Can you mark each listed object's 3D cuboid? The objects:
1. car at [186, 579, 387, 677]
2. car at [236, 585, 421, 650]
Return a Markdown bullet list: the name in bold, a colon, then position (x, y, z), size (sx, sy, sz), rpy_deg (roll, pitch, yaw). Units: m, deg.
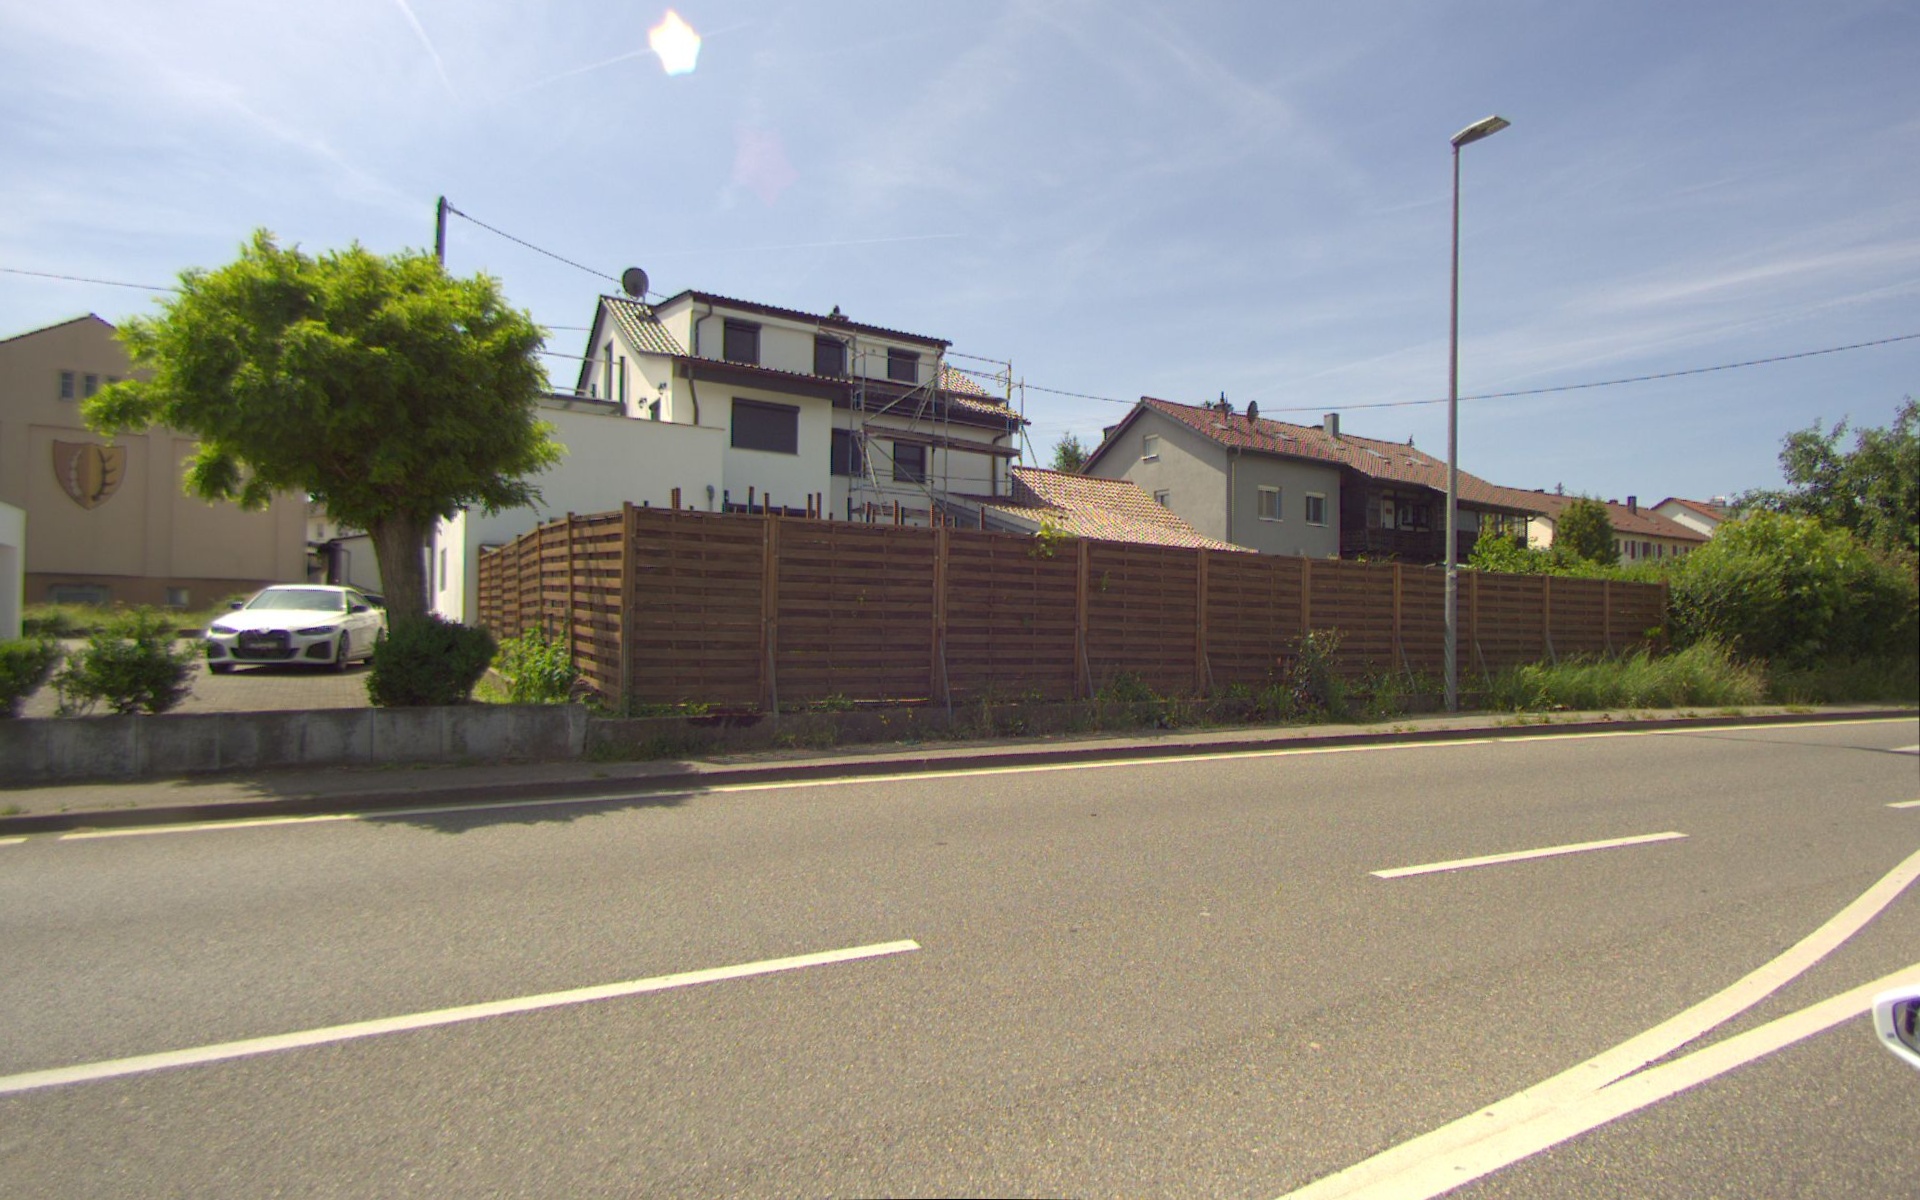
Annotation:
- **car**: position (-11.470, 0.465, 17.428), size (1.854, 1.459, 3.983), rpy_deg (2, -1, -19)
- **car**: position (-16.408, 0.420, 26.354), size (1.904, 1.538, 4.002), rpy_deg (1, 0, 10)
